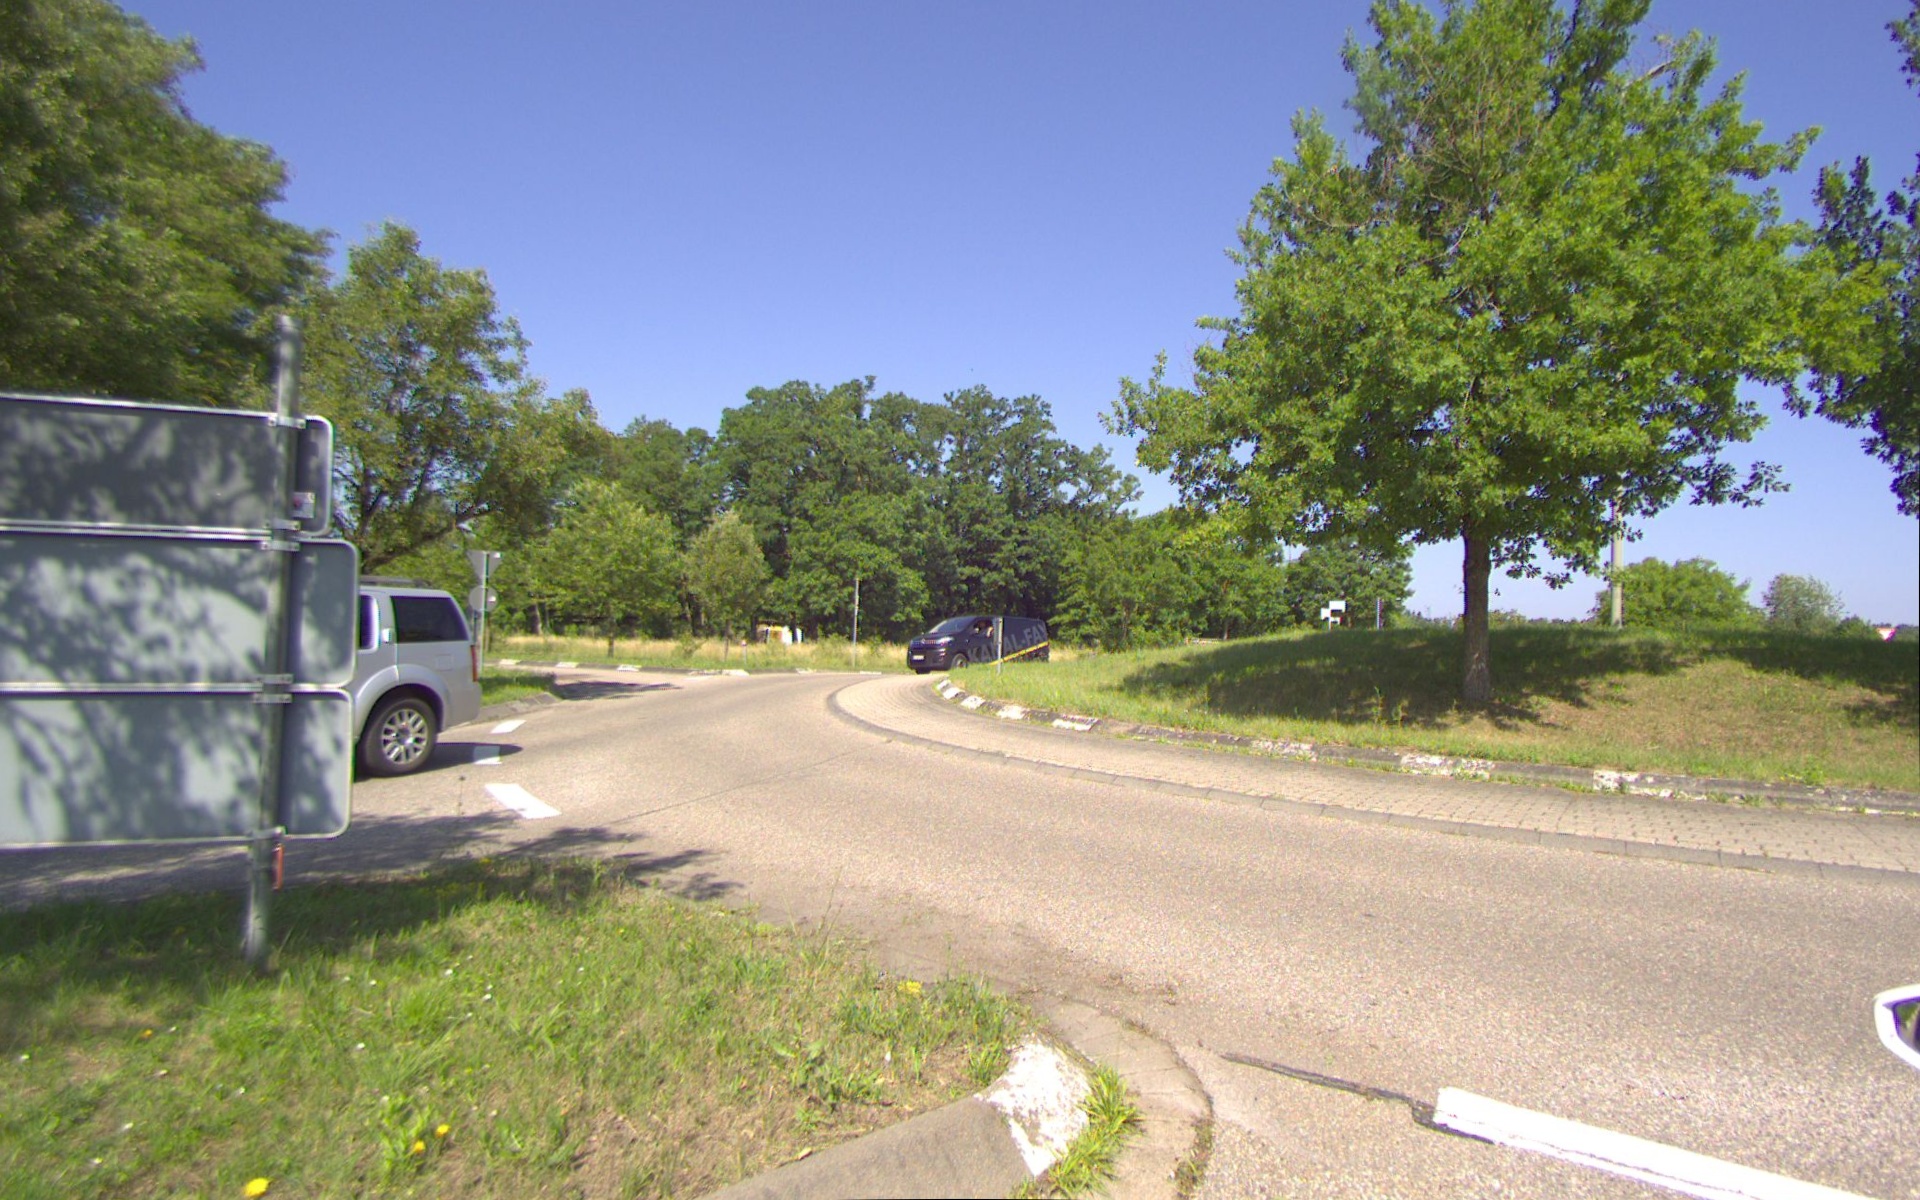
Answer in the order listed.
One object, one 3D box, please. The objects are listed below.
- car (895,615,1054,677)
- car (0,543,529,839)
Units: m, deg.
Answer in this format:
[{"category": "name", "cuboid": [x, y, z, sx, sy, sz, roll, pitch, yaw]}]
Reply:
[{"category": "car", "cuboid": [0.510, 1.406, 30.885, 4.682, 1.737, 2.077, 3, -2, -41]}, {"category": "car", "cuboid": [-6.151, 0.656, 8.620, 1.862, 1.839, 4.598, 0, -2, 19]}]
